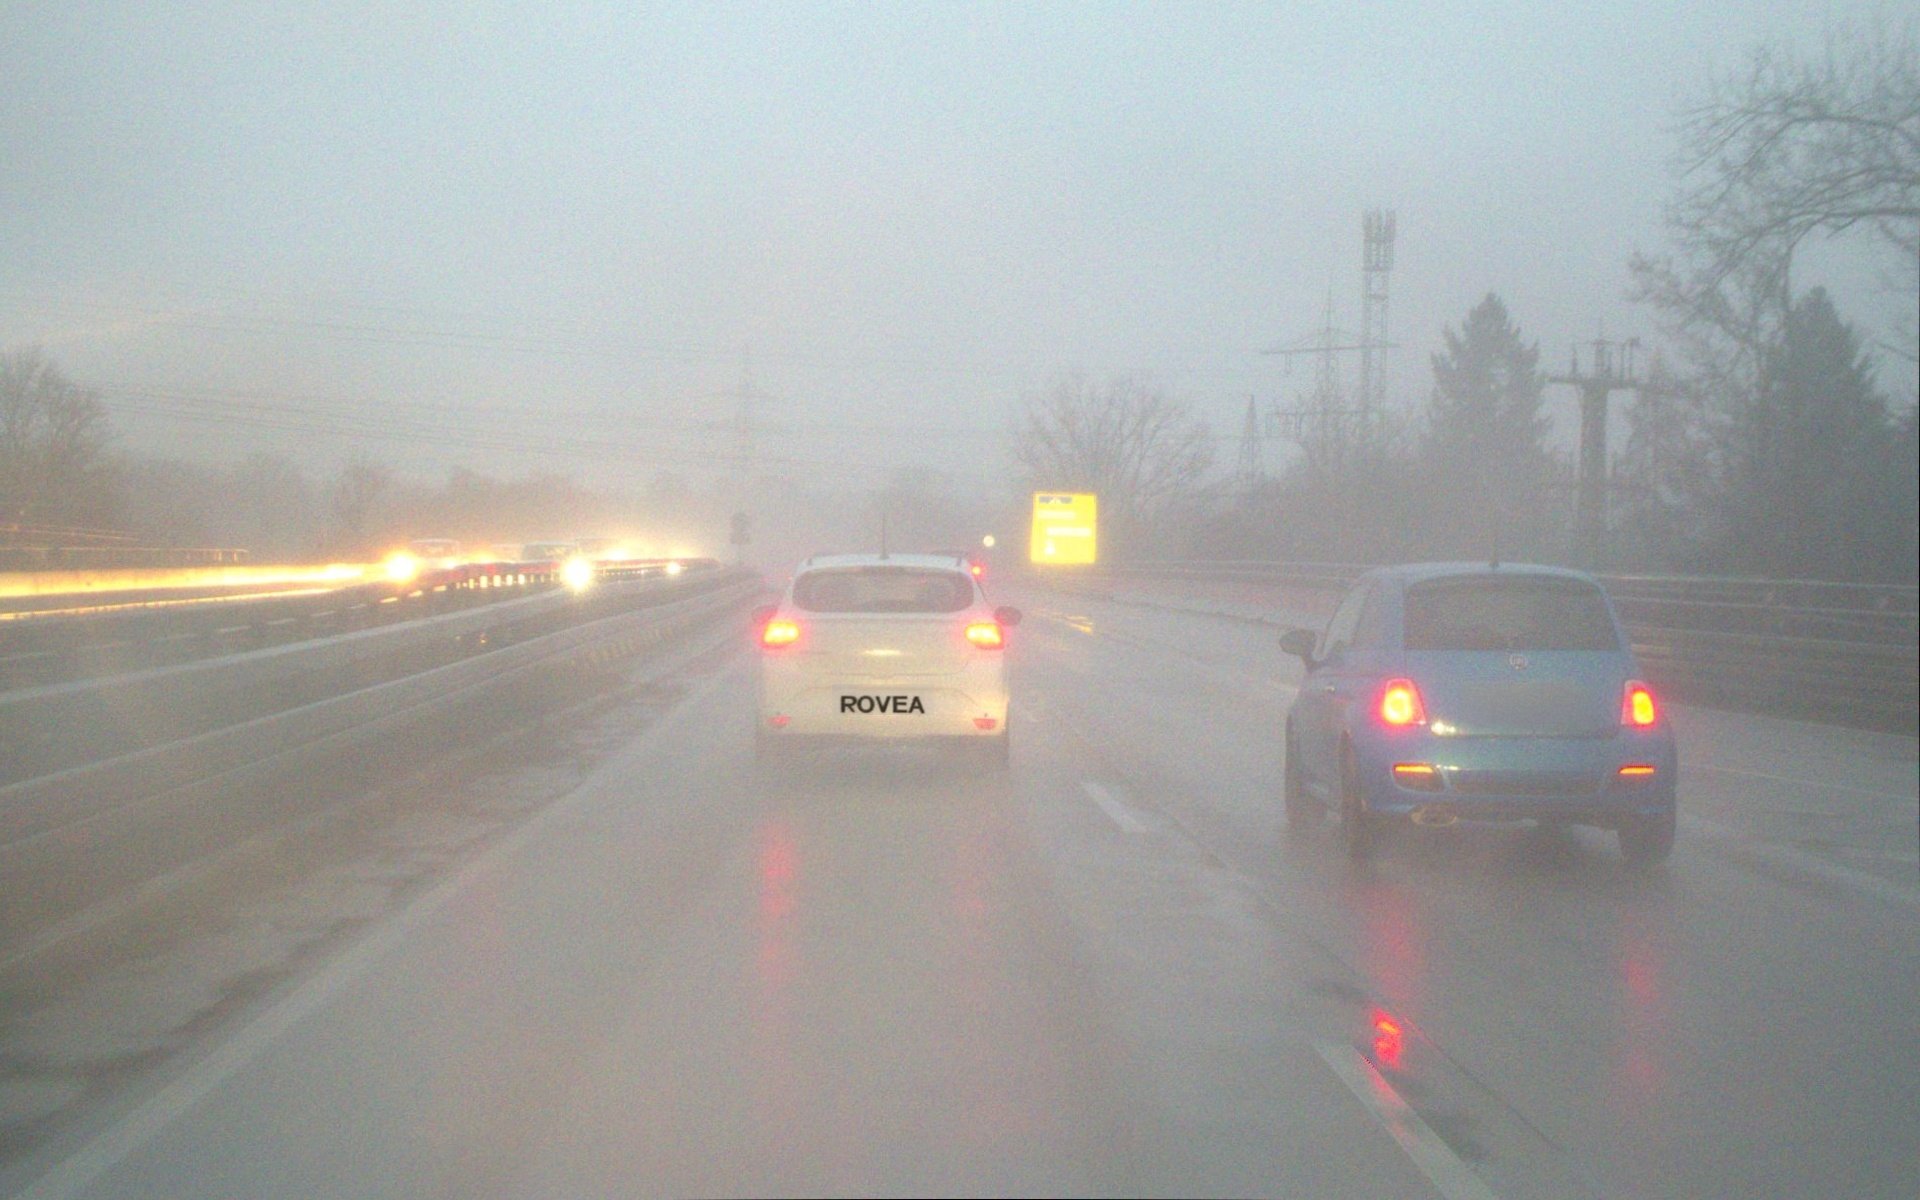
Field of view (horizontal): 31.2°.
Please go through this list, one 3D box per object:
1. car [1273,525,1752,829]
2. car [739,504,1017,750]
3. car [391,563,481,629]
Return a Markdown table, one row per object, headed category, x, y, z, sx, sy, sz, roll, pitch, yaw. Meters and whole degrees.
| category | x | y | z | sx | sy | sz | roll | pitch | yaw |
| --- | --- | --- | --- | --- | --- | --- | --- | --- | --- |
| car | 2.915 | 0.337 | 19.046 | 1.845 | 1.448 | 4.149 | 1 | 2 | -2 |
| car | -0.636 | 0.139 | 25.015 | 1.845 | 1.630 | 3.768 | 1 | 1 | -3 |
| car | -13.455 | -0.125 | 88.477 | 1.855 | 1.560 | 3.923 | 1 | 2 | -2 |
